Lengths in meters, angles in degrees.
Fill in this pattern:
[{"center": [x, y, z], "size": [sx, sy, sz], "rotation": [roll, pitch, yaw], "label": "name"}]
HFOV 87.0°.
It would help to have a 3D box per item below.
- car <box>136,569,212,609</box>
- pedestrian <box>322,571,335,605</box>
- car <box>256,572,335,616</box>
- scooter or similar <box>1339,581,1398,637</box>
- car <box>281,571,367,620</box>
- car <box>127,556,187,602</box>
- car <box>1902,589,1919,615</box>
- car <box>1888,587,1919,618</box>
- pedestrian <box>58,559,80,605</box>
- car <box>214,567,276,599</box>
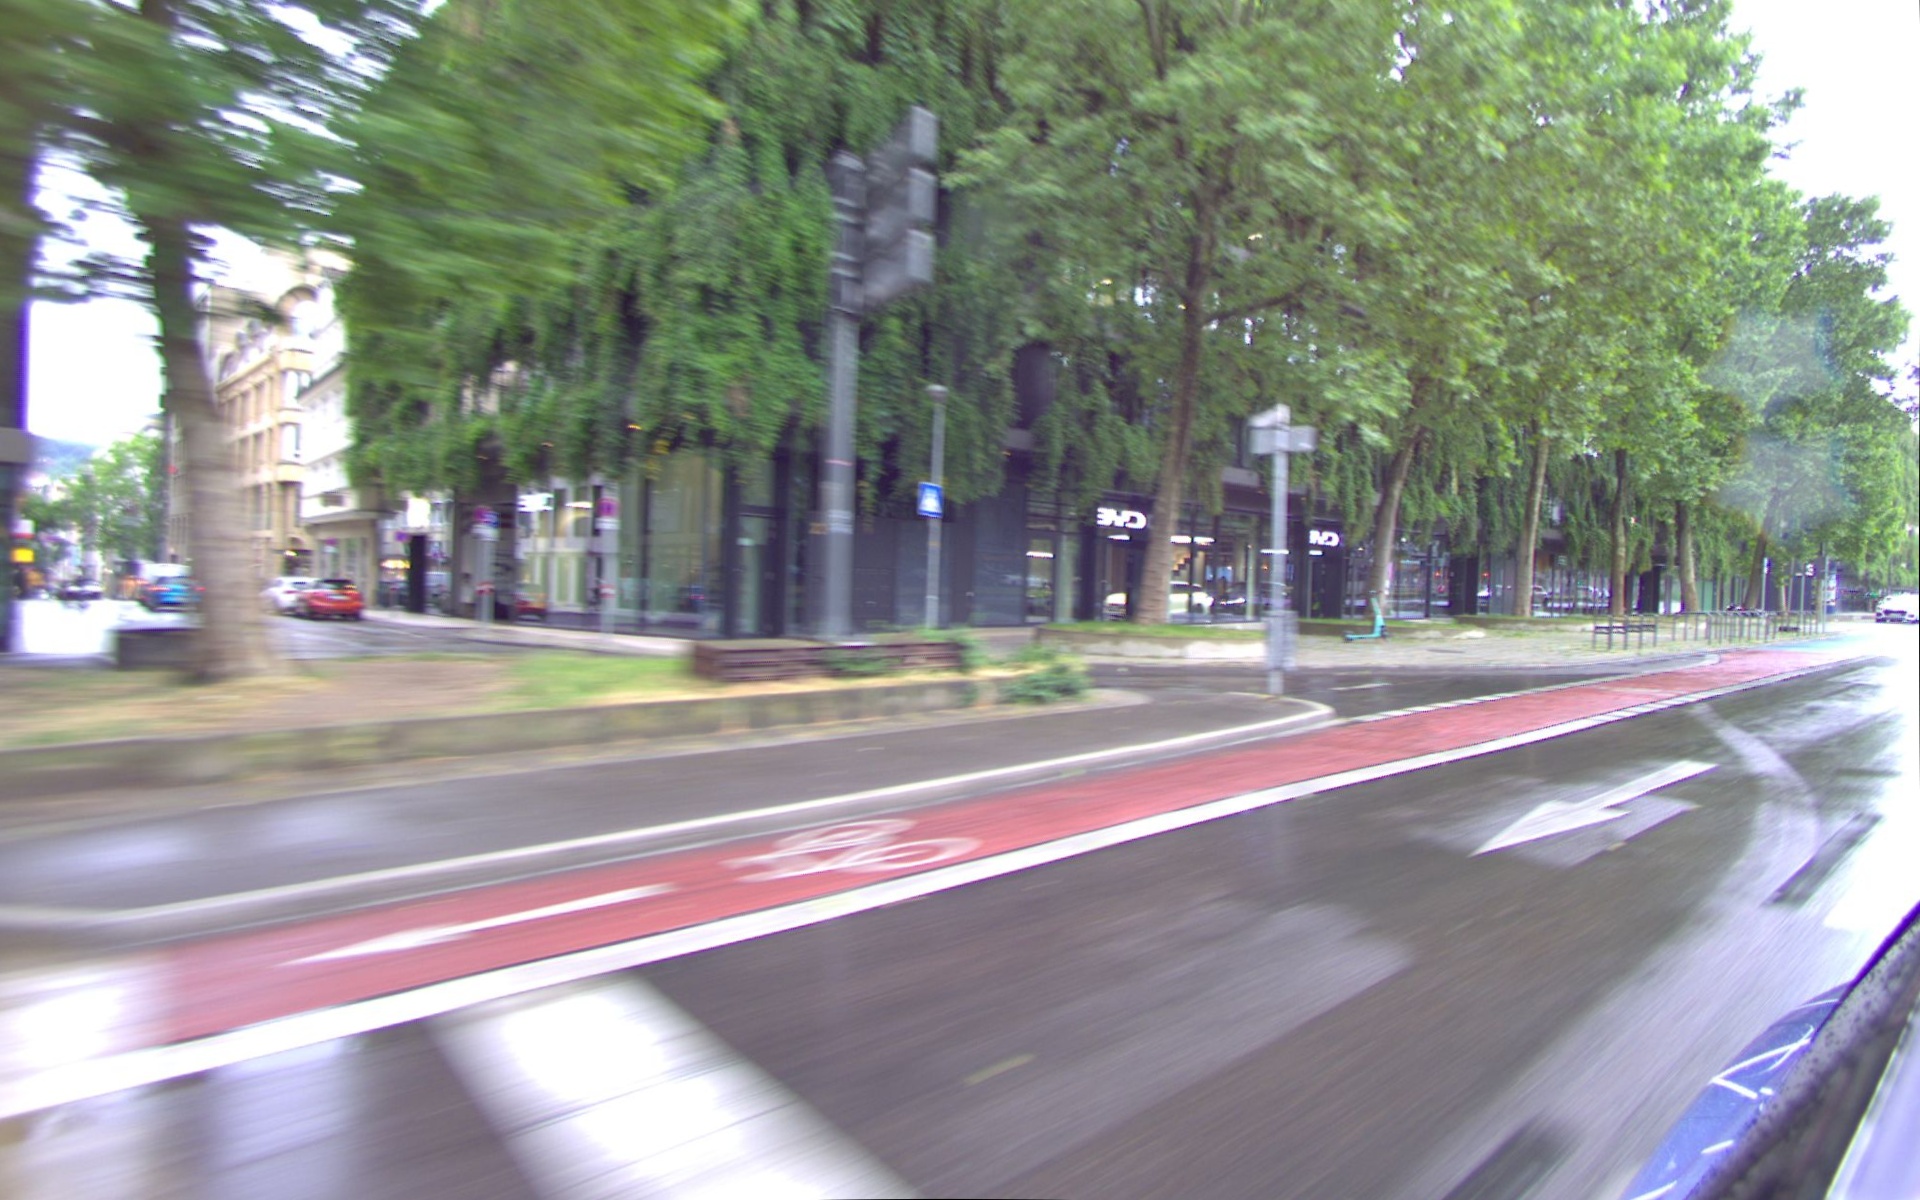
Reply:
[{"center": [-30.665, -0.463, 39.441], "size": [4.049, 1.453, 1.773], "rotation": [2, 2, 44], "label": "car"}, {"center": [-27.615, -0.540, 44.268], "size": [0.413, 1.474, 0.426], "rotation": [-1, 0, -43], "label": "pedestrian"}, {"center": [-25.310, -0.224, 38.511], "size": [3.789, 1.609, 1.757], "rotation": [0, 1, 45], "label": "car"}, {"center": [9.646, 0.208, 23.924], "size": [1.165, 1.298, 0.535], "rotation": [0, 0, 9], "label": "scooter or similar"}, {"center": [-22.224, -0.158, 35.305], "size": [1.815, 1.609, 3.991], "rotation": [-1, 1, -43], "label": "car"}, {"center": [-36.991, -0.945, 46.570], "size": [1.893, 1.970, 4.954], "rotation": [-1, 1, -42], "label": "car"}, {"center": [62.166, 0.092, 64.904], "size": [4.504, 1.581, 2.035], "rotation": [-1, 1, -40], "label": "car"}, {"center": [57.568, 0.132, 61.088], "size": [4.521, 1.757, 1.930], "rotation": [-1, 1, -42], "label": "car"}, {"center": [-31.119, -0.634, 35.350], "size": [0.538, 1.581, 0.502], "rotation": [-1, 0, -45], "label": "pedestrian"}, {"center": [-33.038, -0.769, 46.723], "size": [1.815, 1.404, 3.991], "rotation": [-1, 1, -43], "label": "car"}]
